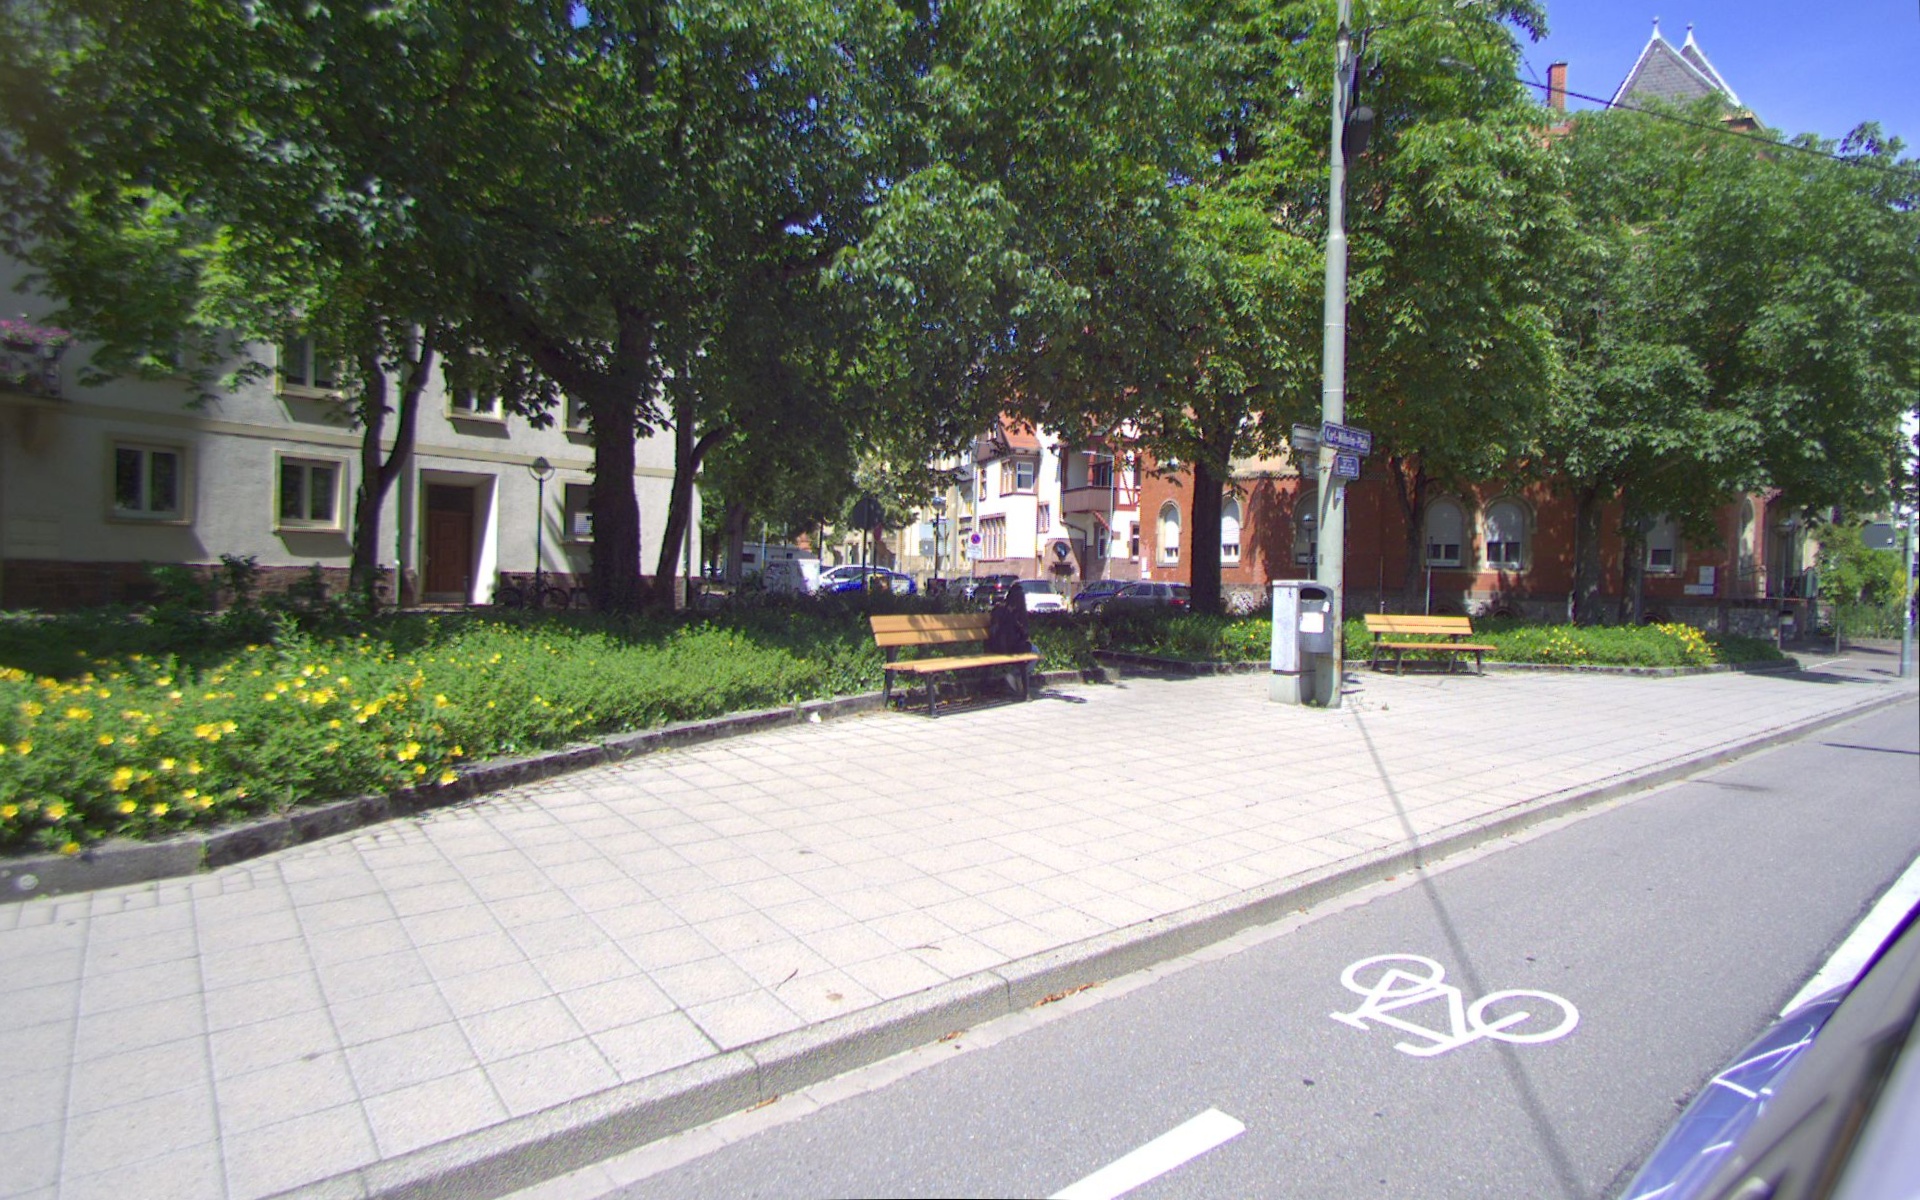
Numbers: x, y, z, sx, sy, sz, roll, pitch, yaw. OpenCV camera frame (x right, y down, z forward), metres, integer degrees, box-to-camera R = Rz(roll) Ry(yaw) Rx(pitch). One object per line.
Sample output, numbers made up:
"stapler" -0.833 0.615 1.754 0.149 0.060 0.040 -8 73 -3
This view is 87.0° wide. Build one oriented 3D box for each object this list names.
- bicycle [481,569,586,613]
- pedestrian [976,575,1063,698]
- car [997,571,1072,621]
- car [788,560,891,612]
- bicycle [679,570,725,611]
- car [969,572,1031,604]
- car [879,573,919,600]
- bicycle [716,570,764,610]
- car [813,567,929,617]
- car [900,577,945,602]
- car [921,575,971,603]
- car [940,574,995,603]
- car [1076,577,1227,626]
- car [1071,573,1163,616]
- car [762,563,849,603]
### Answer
"bicycle" -10.251 -0.221 24.376 2.230 1.024 0.751 -1 0 -41
"pedestrian" 0.600 0.339 10.076 0.562 1.156 0.718 3 2 33
"car" 2.425 -0.144 33.892 1.670 1.525 3.658 2 1 -9
"car" -5.371 -0.627 44.829 4.219 2.219 1.942 0 0 -18
"bicycle" -6.774 -0.258 26.476 0.736 1.024 2.273 0 0 -26
"car" 2.067 -0.617 54.076 1.897 1.638 4.318 0 0 -19
"car" -4.502 -1.005 74.463 1.897 1.897 4.318 0 0 -19
"bicycle" -5.866 -0.267 26.905 0.736 1.024 2.273 0 0 -26
"car" -3.543 -0.320 40.017 4.219 1.903 1.942 0 0 -18
"car" -2.566 -0.726 67.950 1.897 1.638 4.318 0 0 -19
"car" -0.918 -0.689 63.254 1.897 1.638 4.318 0 0 -19
"car" 0.380 -0.652 58.683 1.897 1.638 4.318 0 0 -19
"car" 6.355 0.026 34.160 1.902 1.501 5.032 0 1 -37
"car" 6.276 -0.230 41.027 1.897 1.638 4.318 0 0 -19
"car" -8.083 -0.882 52.939 4.219 2.029 1.942 0 0 -18
